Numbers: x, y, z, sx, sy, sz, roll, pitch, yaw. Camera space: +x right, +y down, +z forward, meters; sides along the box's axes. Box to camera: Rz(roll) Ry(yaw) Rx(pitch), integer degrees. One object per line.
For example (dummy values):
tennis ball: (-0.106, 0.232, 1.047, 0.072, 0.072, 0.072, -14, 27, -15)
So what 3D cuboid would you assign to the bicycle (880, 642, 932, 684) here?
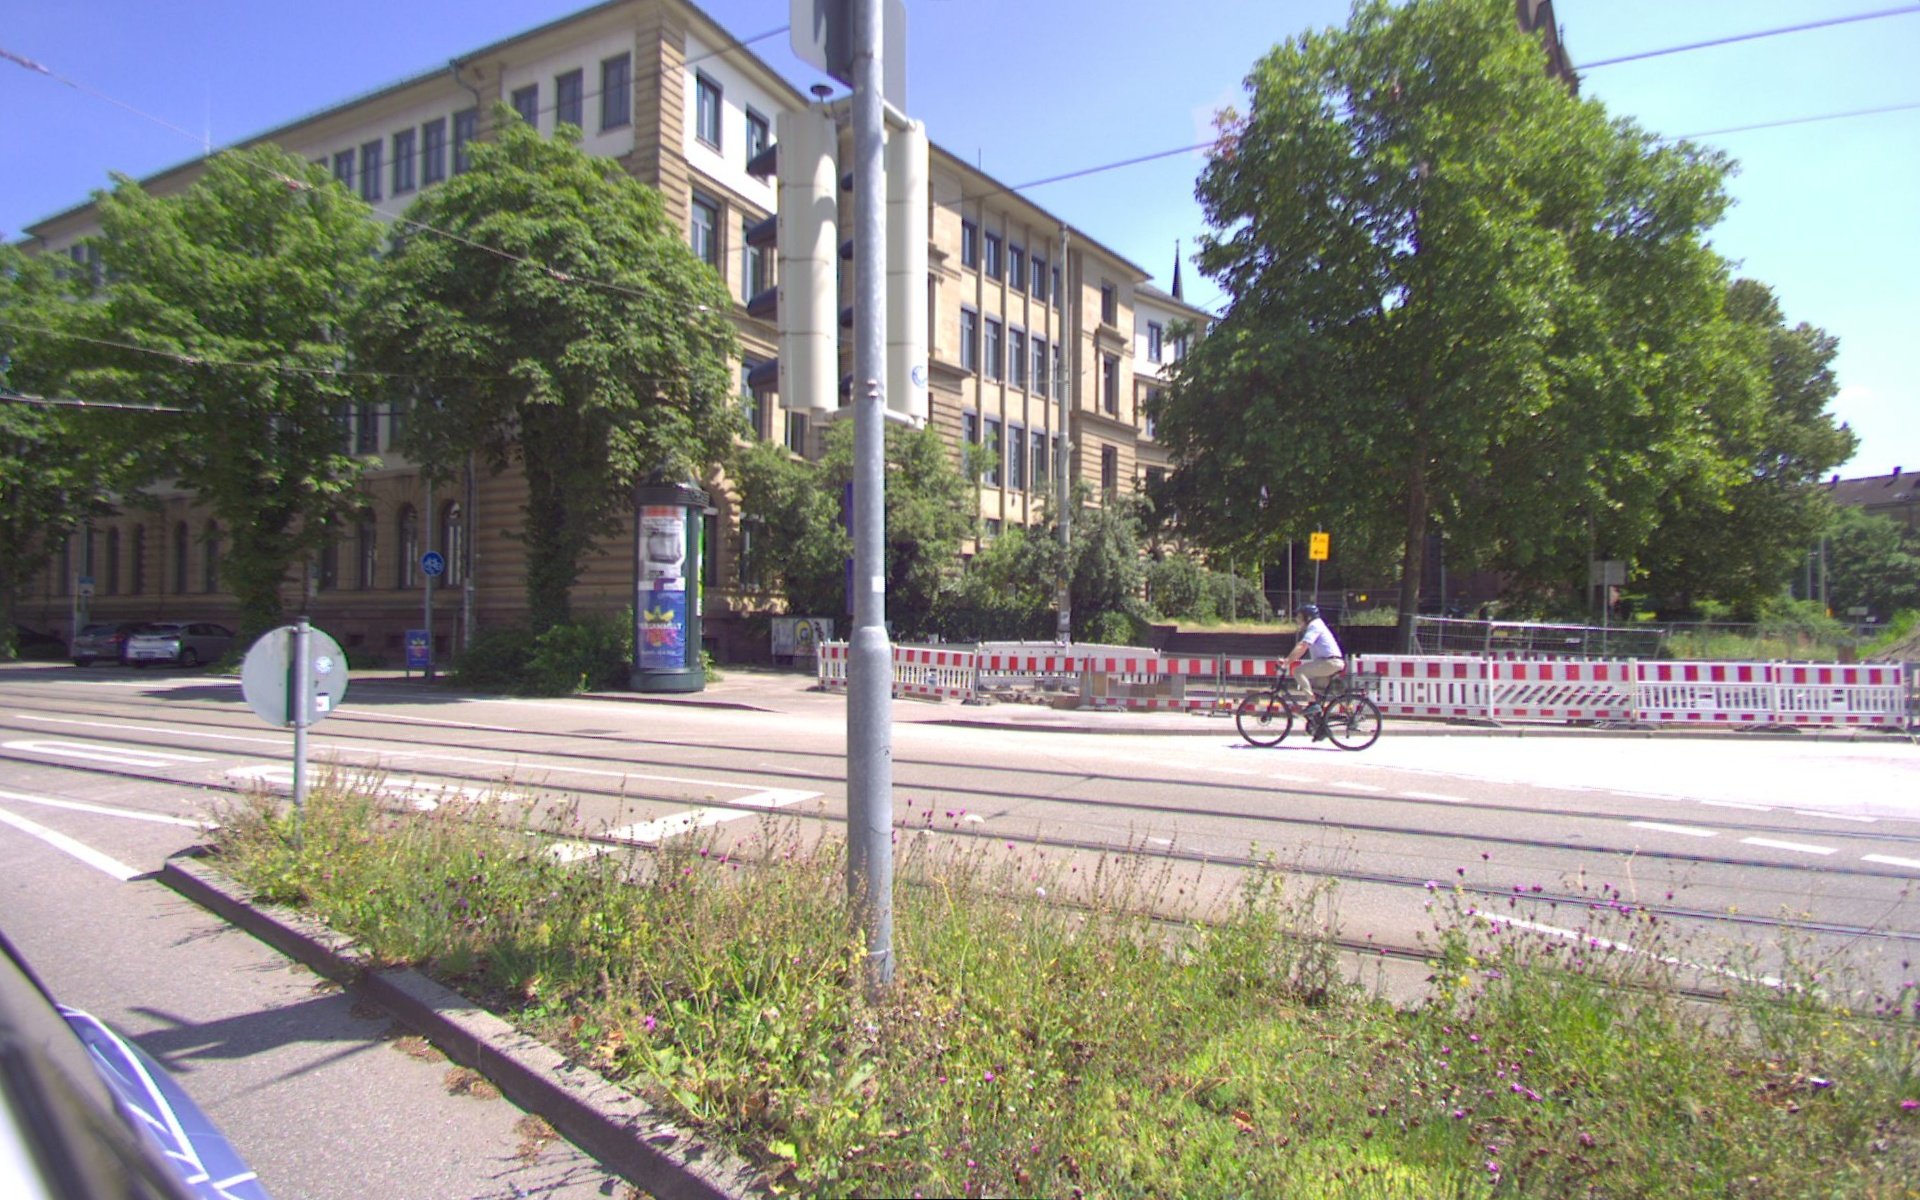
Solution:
bicycle: (-1.452, 1.694, 27.506, 0.503, 1.111, 1.718, -1, -2, 34)

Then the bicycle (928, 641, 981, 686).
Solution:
bicycle: (-0.136, 1.653, 26.623, 0.503, 1.111, 1.718, -1, -2, 34)

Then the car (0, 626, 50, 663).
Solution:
car: (-36.931, 1.680, 38.139, 1.646, 1.385, 3.932, 0, -2, 1)

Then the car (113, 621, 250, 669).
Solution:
car: (-24.681, 1.392, 32.250, 1.678, 1.416, 3.550, 0, -1, -1)

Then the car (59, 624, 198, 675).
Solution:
car: (-27.404, 1.587, 33.509, 1.645, 1.531, 3.678, 0, 0, -1)

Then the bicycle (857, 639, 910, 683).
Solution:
bicycle: (-2.109, 1.680, 27.997, 0.462, 1.156, 1.667, 0, -1, 37)

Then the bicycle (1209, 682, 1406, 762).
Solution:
bicycle: (4.407, 1.538, 12.987, 2.349, 0.921, 0.502, 0, -2, 16)

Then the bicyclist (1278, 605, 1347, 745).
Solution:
bicyclist: (4.500, 0.938, 12.984, 0.763, 1.723, 0.819, 0, -2, 16)

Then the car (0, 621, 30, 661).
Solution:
car: (-39.379, 1.632, 40.015, 1.767, 1.589, 3.820, 0, -2, -2)

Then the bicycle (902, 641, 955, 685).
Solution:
bicycle: (-0.829, 1.670, 27.085, 0.503, 1.111, 1.718, -1, -2, 34)
